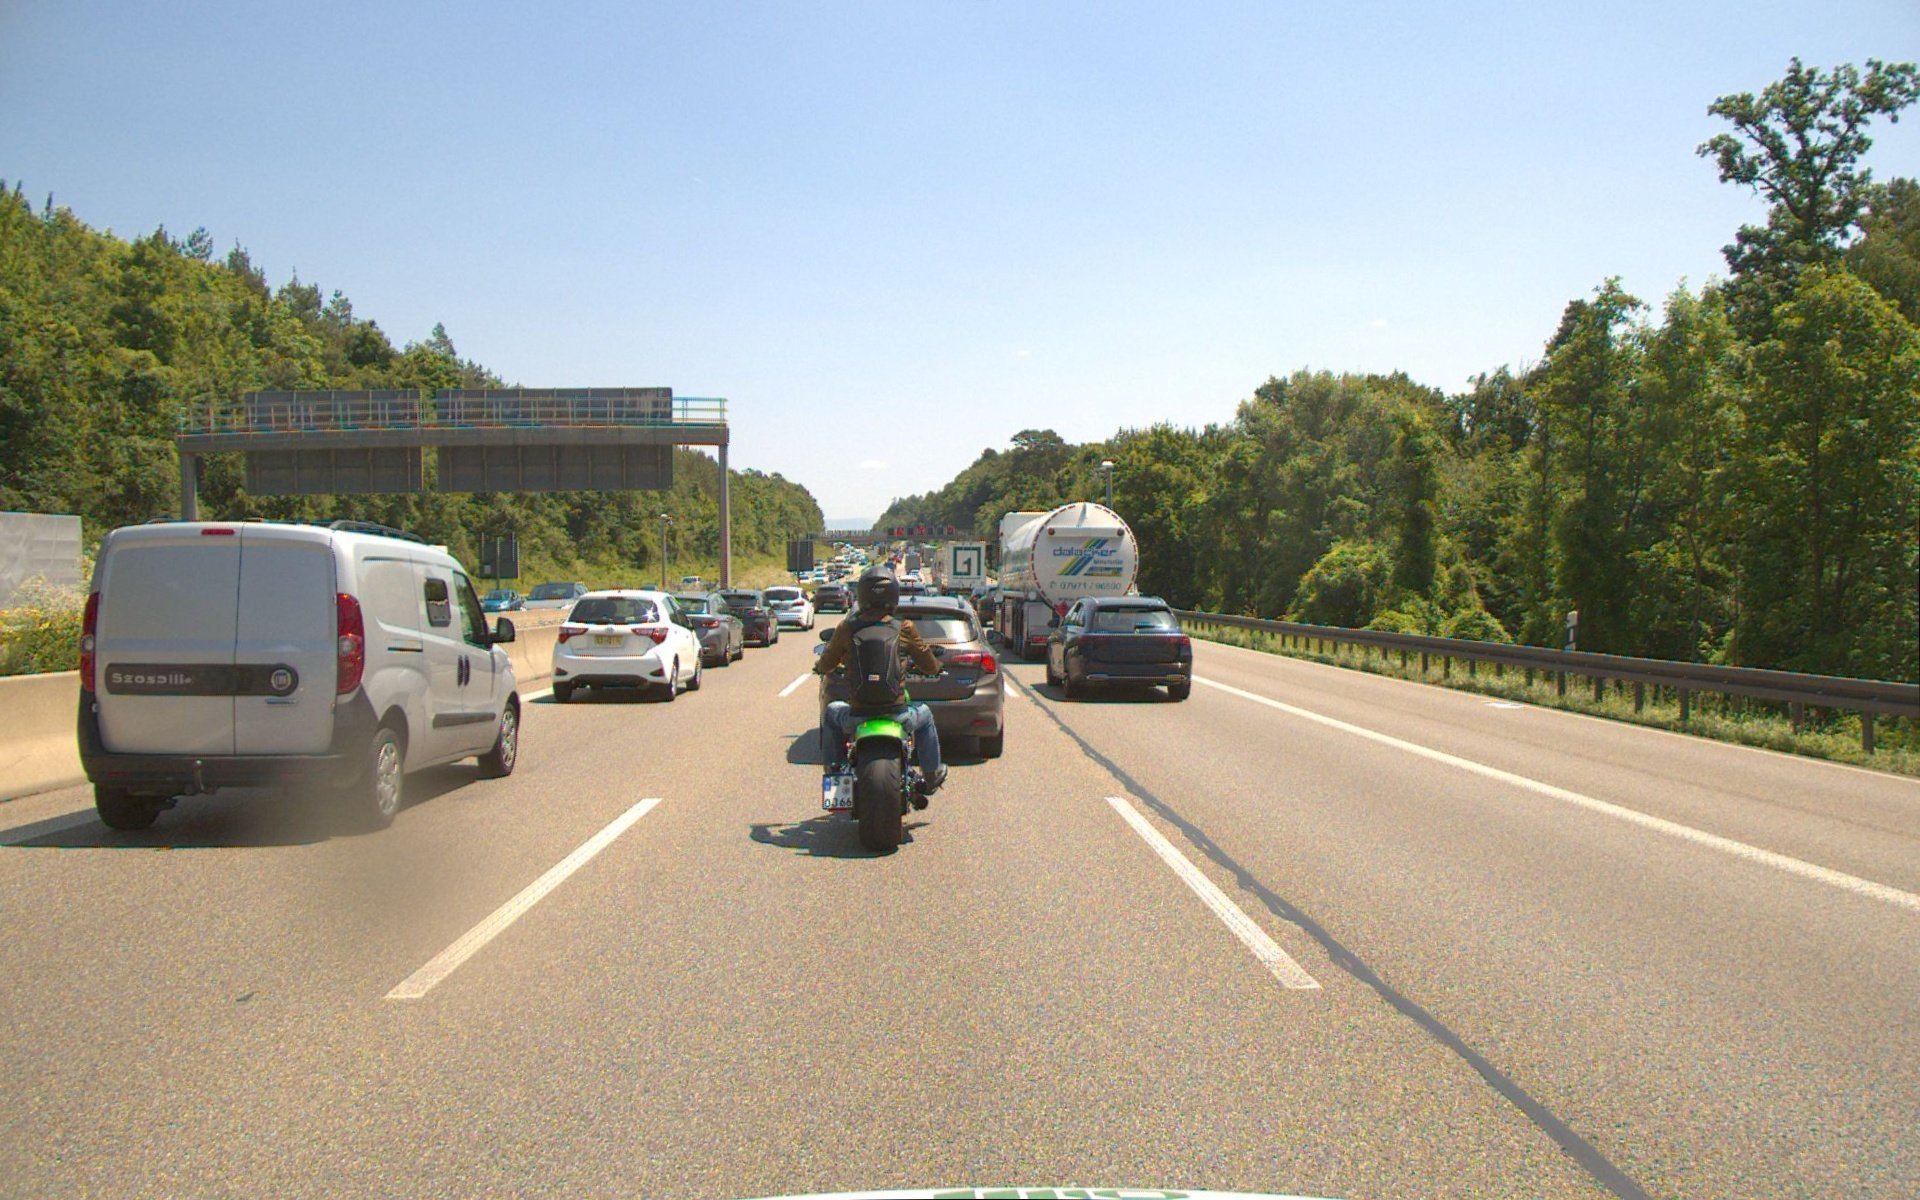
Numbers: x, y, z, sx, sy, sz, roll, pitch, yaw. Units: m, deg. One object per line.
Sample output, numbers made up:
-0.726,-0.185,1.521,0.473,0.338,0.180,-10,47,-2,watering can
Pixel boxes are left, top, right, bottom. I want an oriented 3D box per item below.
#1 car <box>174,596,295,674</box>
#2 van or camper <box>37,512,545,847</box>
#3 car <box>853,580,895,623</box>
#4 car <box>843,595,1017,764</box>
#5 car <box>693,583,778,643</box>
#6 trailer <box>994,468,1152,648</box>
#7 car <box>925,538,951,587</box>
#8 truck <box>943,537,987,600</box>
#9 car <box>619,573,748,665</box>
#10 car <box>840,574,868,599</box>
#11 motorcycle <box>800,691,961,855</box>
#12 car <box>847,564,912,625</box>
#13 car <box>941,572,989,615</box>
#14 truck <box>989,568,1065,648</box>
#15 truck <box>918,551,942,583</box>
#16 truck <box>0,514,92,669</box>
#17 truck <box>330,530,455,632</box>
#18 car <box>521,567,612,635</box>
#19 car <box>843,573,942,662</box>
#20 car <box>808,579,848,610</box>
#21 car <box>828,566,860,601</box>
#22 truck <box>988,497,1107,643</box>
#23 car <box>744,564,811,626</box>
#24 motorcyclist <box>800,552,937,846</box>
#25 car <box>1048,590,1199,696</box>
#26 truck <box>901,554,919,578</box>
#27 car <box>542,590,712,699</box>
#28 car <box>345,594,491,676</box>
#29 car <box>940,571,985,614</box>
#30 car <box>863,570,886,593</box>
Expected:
-19.922,0.954,45.589,1.814,2.049,3.511,1,-1,-1,car
-4.427,0.432,11.815,1.815,1.913,4.561,1,1,-1,van or camper
-4.214,0.093,81.774,1.953,2.049,3.998,1,-1,-2,car
-0.319,0.693,16.515,1.510,1.475,3.999,1,0,-2,car
-5.812,0.344,43.175,1.954,1.490,3.996,1,-1,-5,car
2.488,-0.818,40.054,2.771,3.735,10.728,1,-1,-2,trailer
-1.976,-3.205,144.989,2.123,3.961,9.326,1,-1,-2,car
0.400,-2.016,109.754,2.795,3.888,7.188,0,-1,1,truck
-5.489,0.381,33.338,1.953,1.713,4.328,1,-1,-2,car
-6.965,-0.874,108.850,1.627,1.627,3.999,0,0,-1,car
-0.487,1.056,10.617,0.917,0.807,2.298,1,0,-2,motorcycle
-2.505,-0.144,51.892,1.953,1.806,3.998,1,-1,-3,car
0.171,-0.228,64.016,1.740,1.554,3.998,1,-1,-2,car
2.626,0.297,67.187,2.341,3.031,8.248,0,0,-3,truck
-3.595,-3.869,196.173,2.642,3.465,10.474,-1,0,-2,truck
-19.234,-0.174,31.396,2.134,2.935,6.739,1,-1,-2,truck
-23.837,-0.718,69.909,2.638,4.059,7.987,1,-1,-2,truck
-12.340,0.060,52.108,1.953,2.049,3.999,1,-1,-1,car
-1.420,0.371,34.689,1.953,1.741,3.998,1,-1,-3,car
-6.508,-0.270,81.747,1.728,1.467,3.999,1,-1,-1,car
-6.768,-0.960,96.872,1.627,2.012,3.999,0,0,-1,car
2.317,-0.741,45.878,2.771,3.735,6.427,1,-1,-2,truck
-6.216,-0.143,56.704,1.953,2.049,3.998,1,-1,-2,car
-0.547,0.586,10.192,0.783,1.717,1.016,1,-1,-2,motorcyclist
2.436,0.630,25.675,1.756,1.484,4.622,1,-1,-2,car
-7.838,-5.319,259.176,2.642,3.465,10.474,-1,0,-2,truck
-4.739,0.619,24.051,1.740,1.435,3.998,1,-1,-2,car
-10.854,0.657,33.378,1.788,1.521,3.998,0,0,-3,car
0.111,-0.355,81.461,1.954,2.049,3.997,1,-1,-3,car
-7.718,-1.644,149.314,1.953,2.049,3.999,-1,0,-2,car
